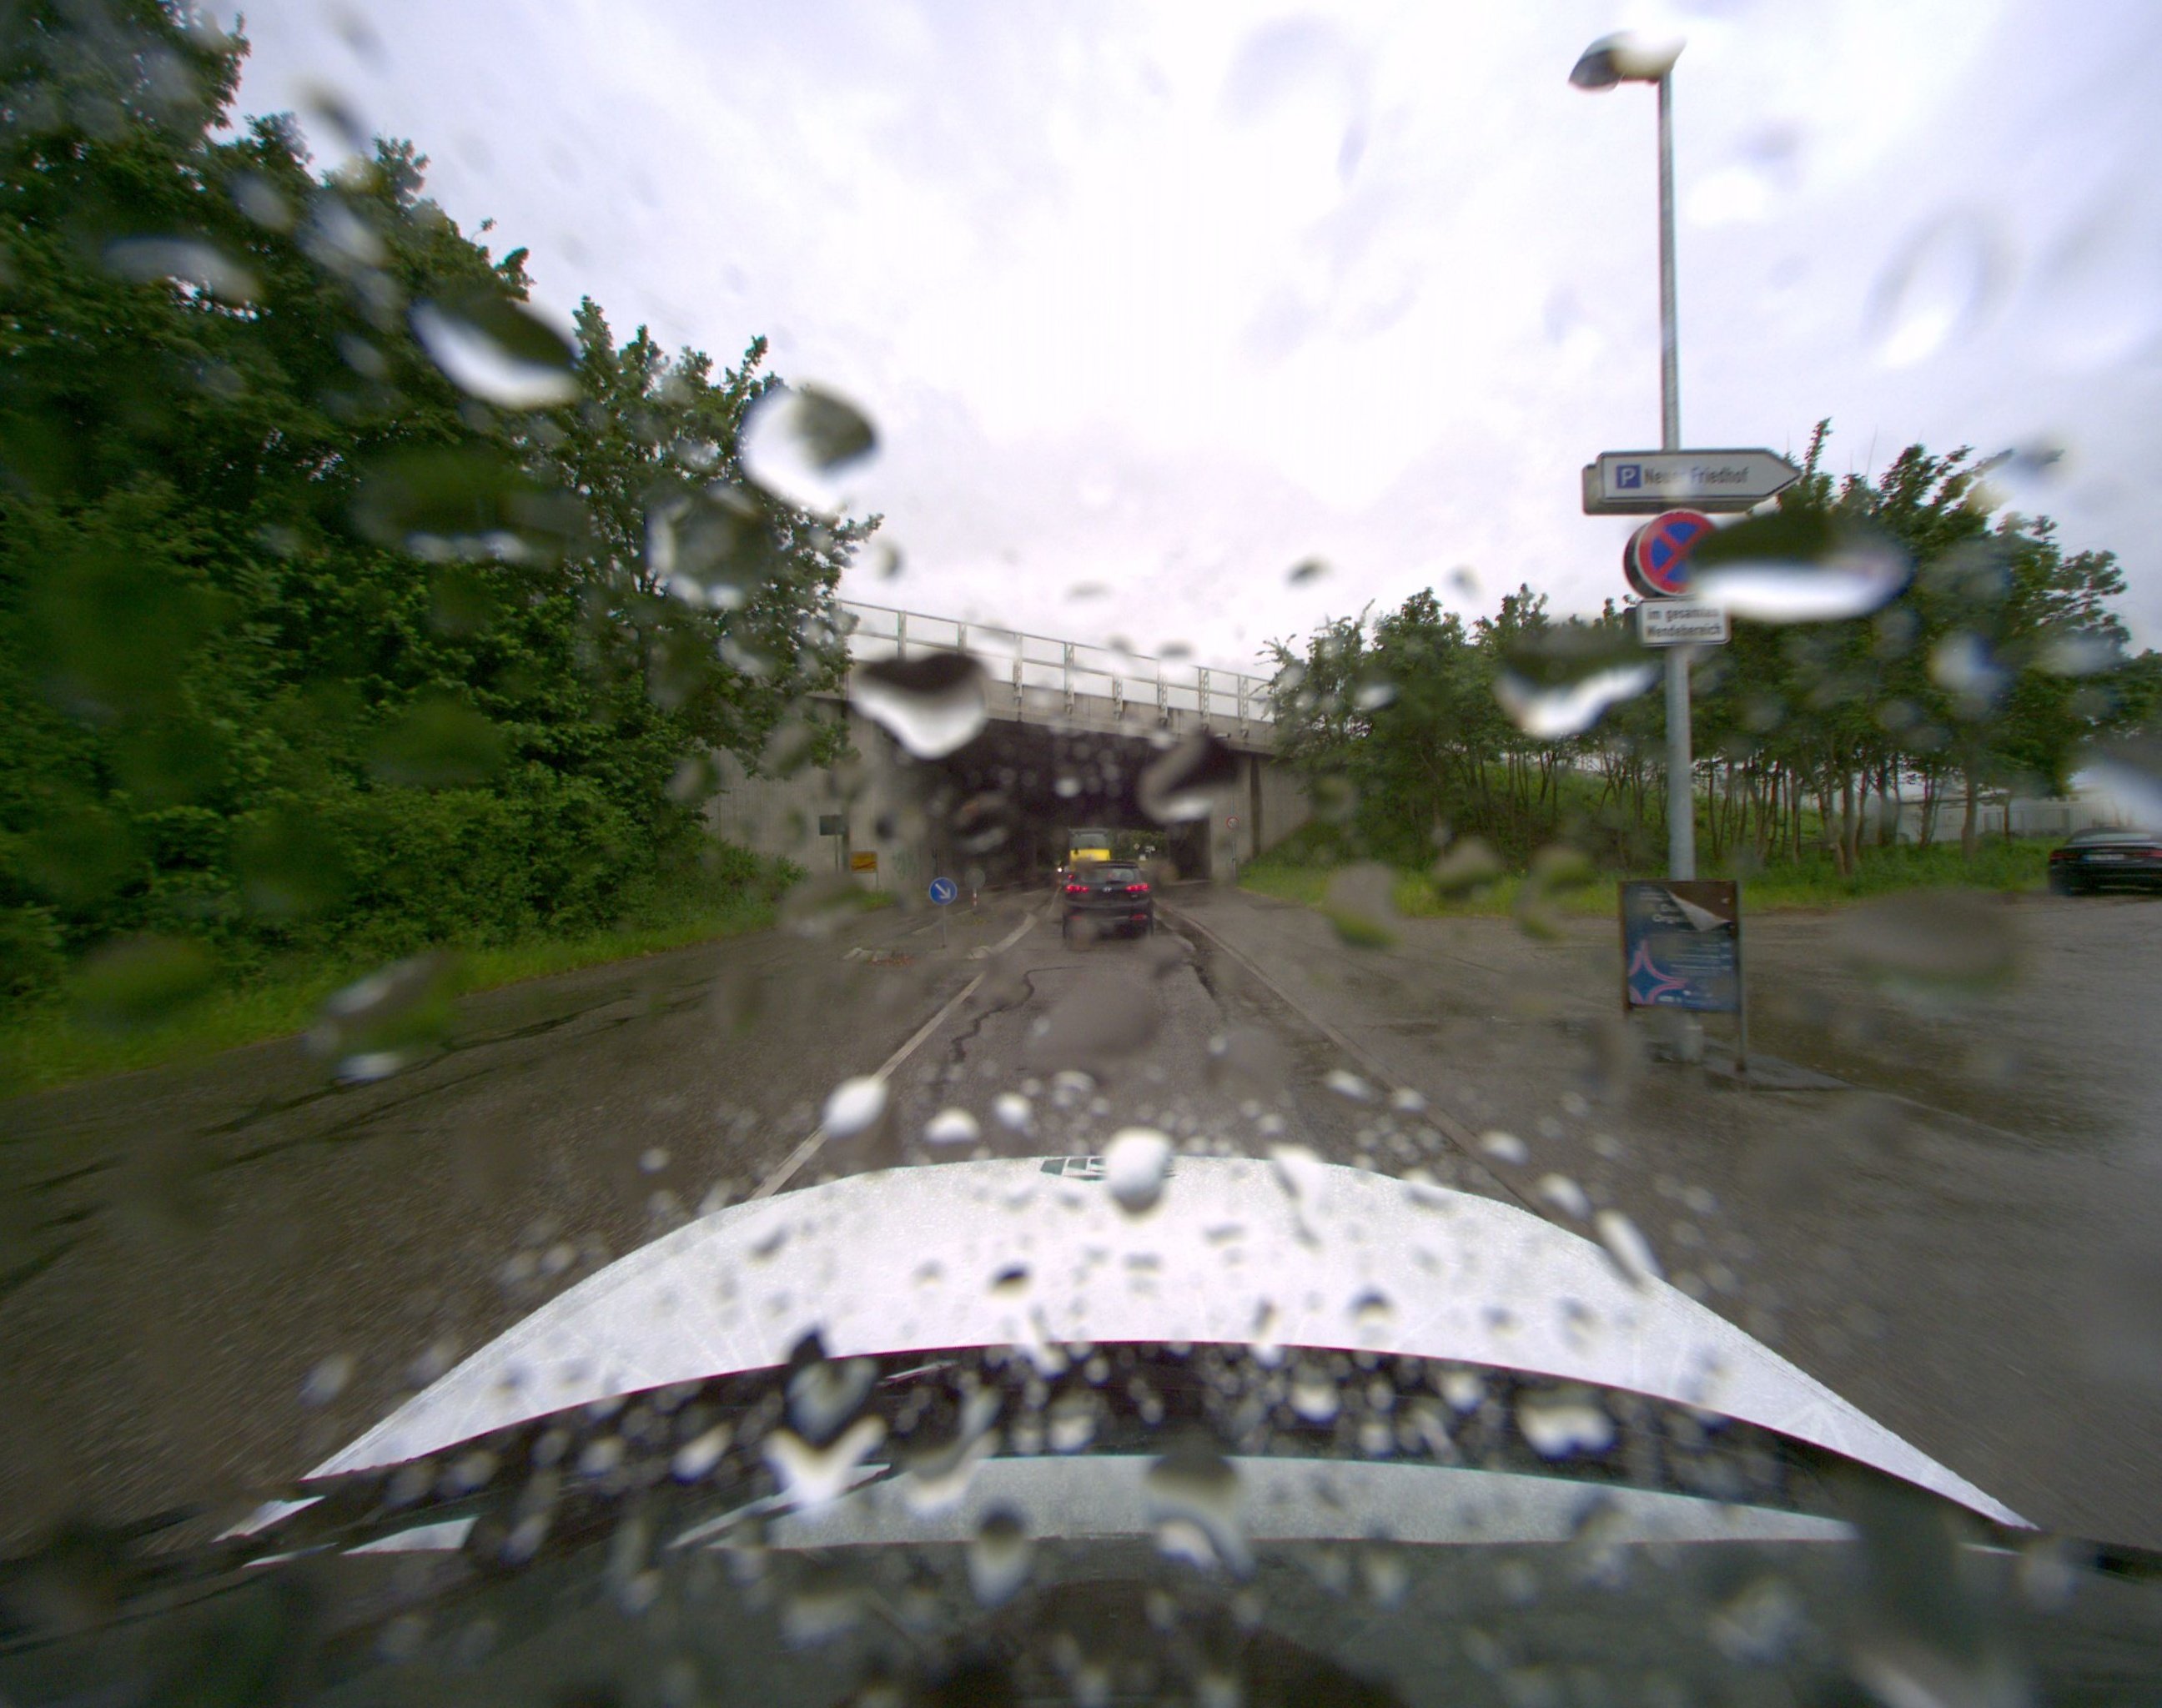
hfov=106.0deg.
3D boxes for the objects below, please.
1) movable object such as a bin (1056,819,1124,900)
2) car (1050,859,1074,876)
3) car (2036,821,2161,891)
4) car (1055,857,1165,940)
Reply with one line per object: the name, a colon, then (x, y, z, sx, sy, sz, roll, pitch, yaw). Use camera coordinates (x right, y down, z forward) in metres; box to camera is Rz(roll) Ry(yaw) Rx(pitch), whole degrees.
movable object such as a bin: (0.336, 0.203, 30.265, 2.238, 2.669, 6.626, 0, -1, 1)
car: (-1.649, 1.156, 70.931, 1.683, 1.487, 4.077, -1, 0, 4)
car: (22.152, 0.052, 17.320, 4.126, 1.359, 1.885, 0, -1, -33)
car: (0.550, 0.822, 16.667, 1.987, 1.487, 4.000, 0, -1, 0)
